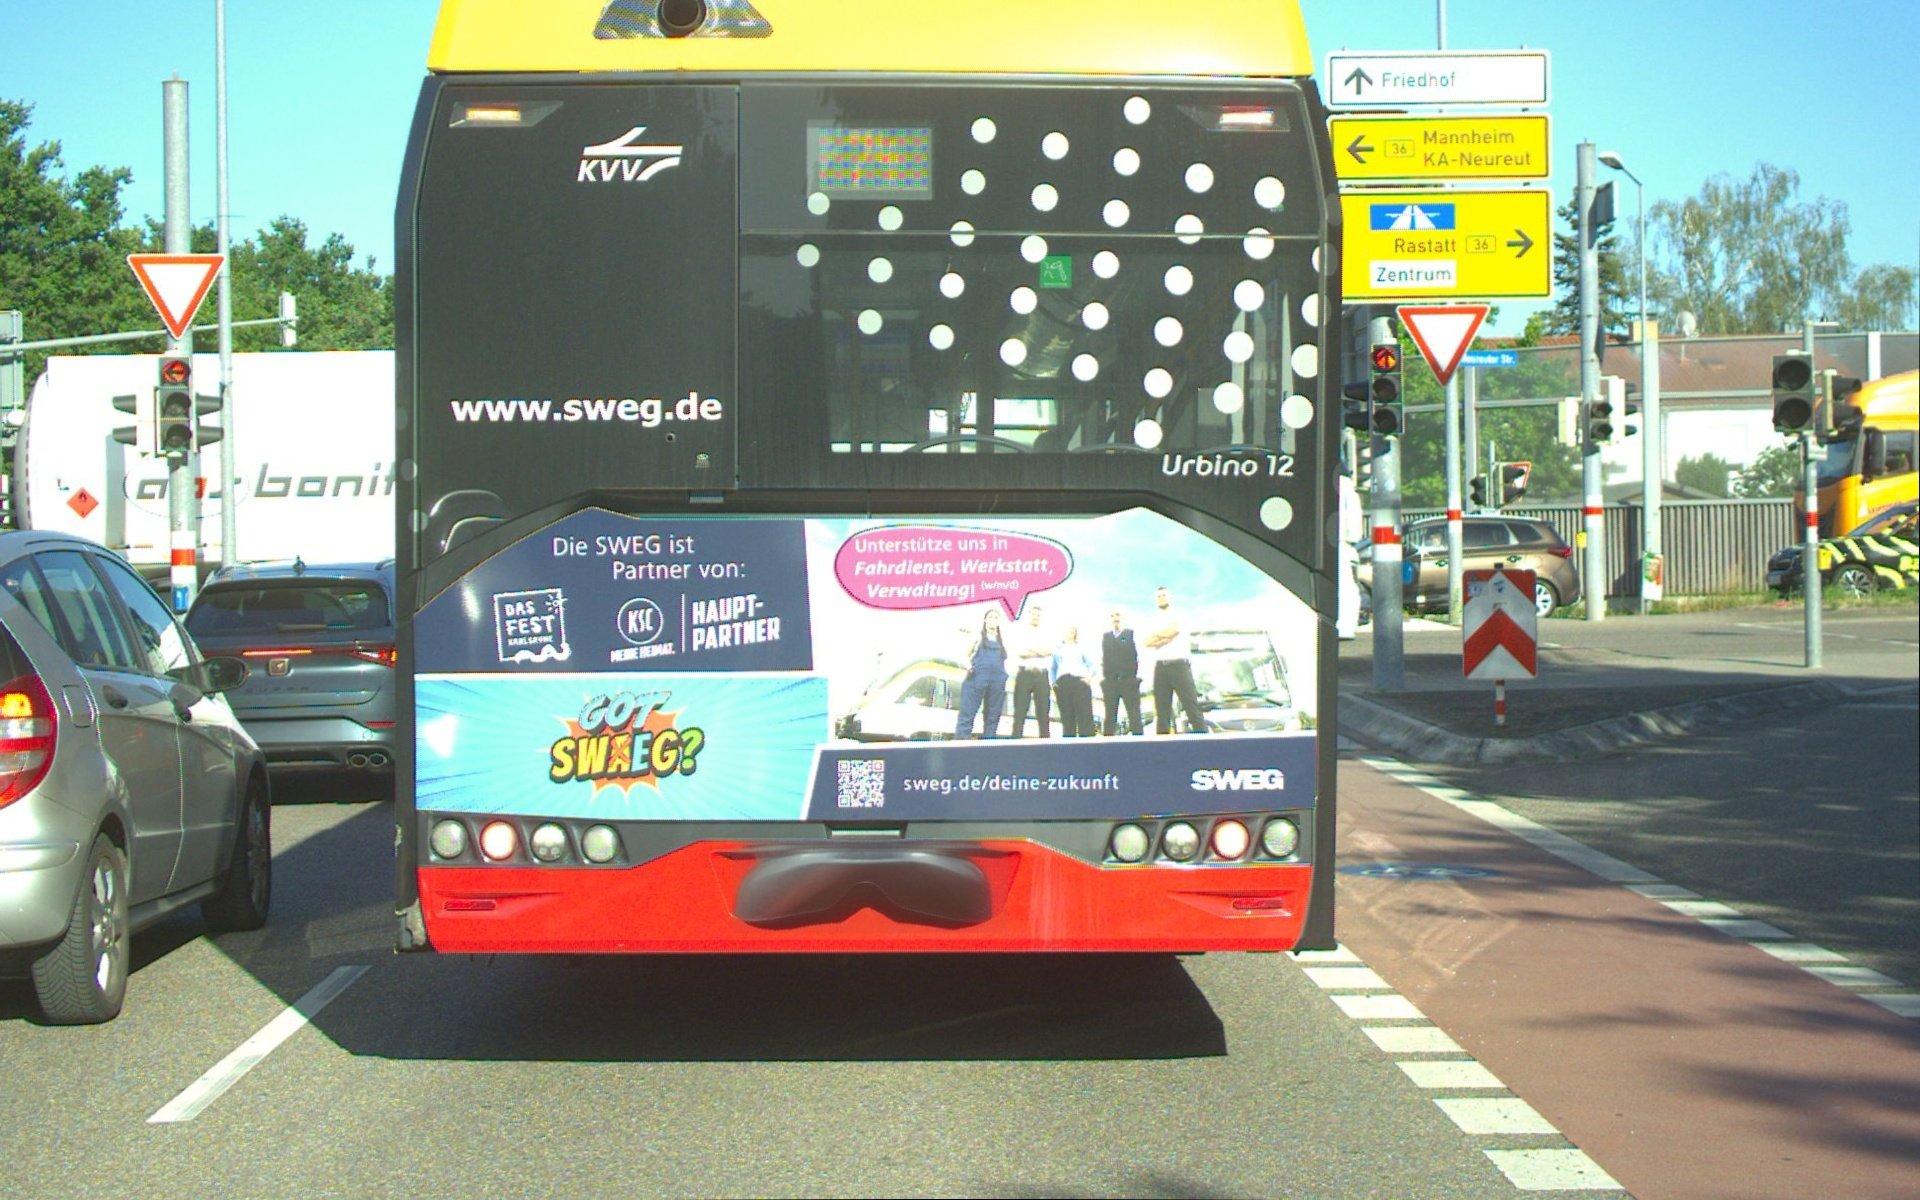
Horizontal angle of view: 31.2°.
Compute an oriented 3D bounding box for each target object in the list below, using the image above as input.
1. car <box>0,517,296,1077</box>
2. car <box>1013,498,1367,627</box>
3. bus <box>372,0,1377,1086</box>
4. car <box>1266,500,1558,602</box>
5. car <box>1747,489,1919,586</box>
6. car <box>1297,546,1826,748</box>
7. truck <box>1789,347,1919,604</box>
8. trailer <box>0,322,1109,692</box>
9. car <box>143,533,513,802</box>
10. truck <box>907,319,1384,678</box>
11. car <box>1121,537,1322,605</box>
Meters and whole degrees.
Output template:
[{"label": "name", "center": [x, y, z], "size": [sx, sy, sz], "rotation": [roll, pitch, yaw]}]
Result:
[{"label": "car", "center": [-3.597, 0.549, 12.219], "size": [1.754, 1.614, 4.034], "rotation": [-1, 2, -1]}, {"label": "car", "center": [2.854, -0.464, 43.217], "size": [4.220, 1.557, 1.763], "rotation": [0, 0, -5]}, {"label": "bus", "center": [-0.293, -0.505, 14.938], "size": [2.596, 3.323, 11.984], "rotation": [0, 1, -1]}, {"label": "car", "center": [6.617, -0.709, 50.524], "size": [3.986, 1.437, 1.566], "rotation": [0, 0, -6]}, {"label": "car", "center": [13.211, -0.852, 47.733], "size": [4.159, 1.298, 1.575], "rotation": [0, 0, -4]}, {"label": "car", "center": [4.175, 0.298, 24.118], "size": [3.523, 1.297, 1.574], "rotation": [1, 2, 8]}, {"label": "truck", "center": [16.800, -1.991, 54.993], "size": [6.396, 3.984, 2.473], "rotation": [-1, 1, -7]}, {"label": "trailer", "center": [-4.303, -1.002, 36.309], "size": [11.473, 3.683, 2.396], "rotation": [-1, 1, -6]}, {"label": "car", "center": [-3.773, 0.372, 21.066], "size": [1.588, 1.480, 3.682], "rotation": [-1, 0, 0]}, {"label": "truck", "center": [1.923, -1.078, 36.894], "size": [4.800, 3.682, 2.411], "rotation": [-1, 1, -5]}, {"label": "car", "center": [4.909, -0.553, 64.749], "size": [3.590, 1.261, 1.351], "rotation": [0, 1, 34]}]
